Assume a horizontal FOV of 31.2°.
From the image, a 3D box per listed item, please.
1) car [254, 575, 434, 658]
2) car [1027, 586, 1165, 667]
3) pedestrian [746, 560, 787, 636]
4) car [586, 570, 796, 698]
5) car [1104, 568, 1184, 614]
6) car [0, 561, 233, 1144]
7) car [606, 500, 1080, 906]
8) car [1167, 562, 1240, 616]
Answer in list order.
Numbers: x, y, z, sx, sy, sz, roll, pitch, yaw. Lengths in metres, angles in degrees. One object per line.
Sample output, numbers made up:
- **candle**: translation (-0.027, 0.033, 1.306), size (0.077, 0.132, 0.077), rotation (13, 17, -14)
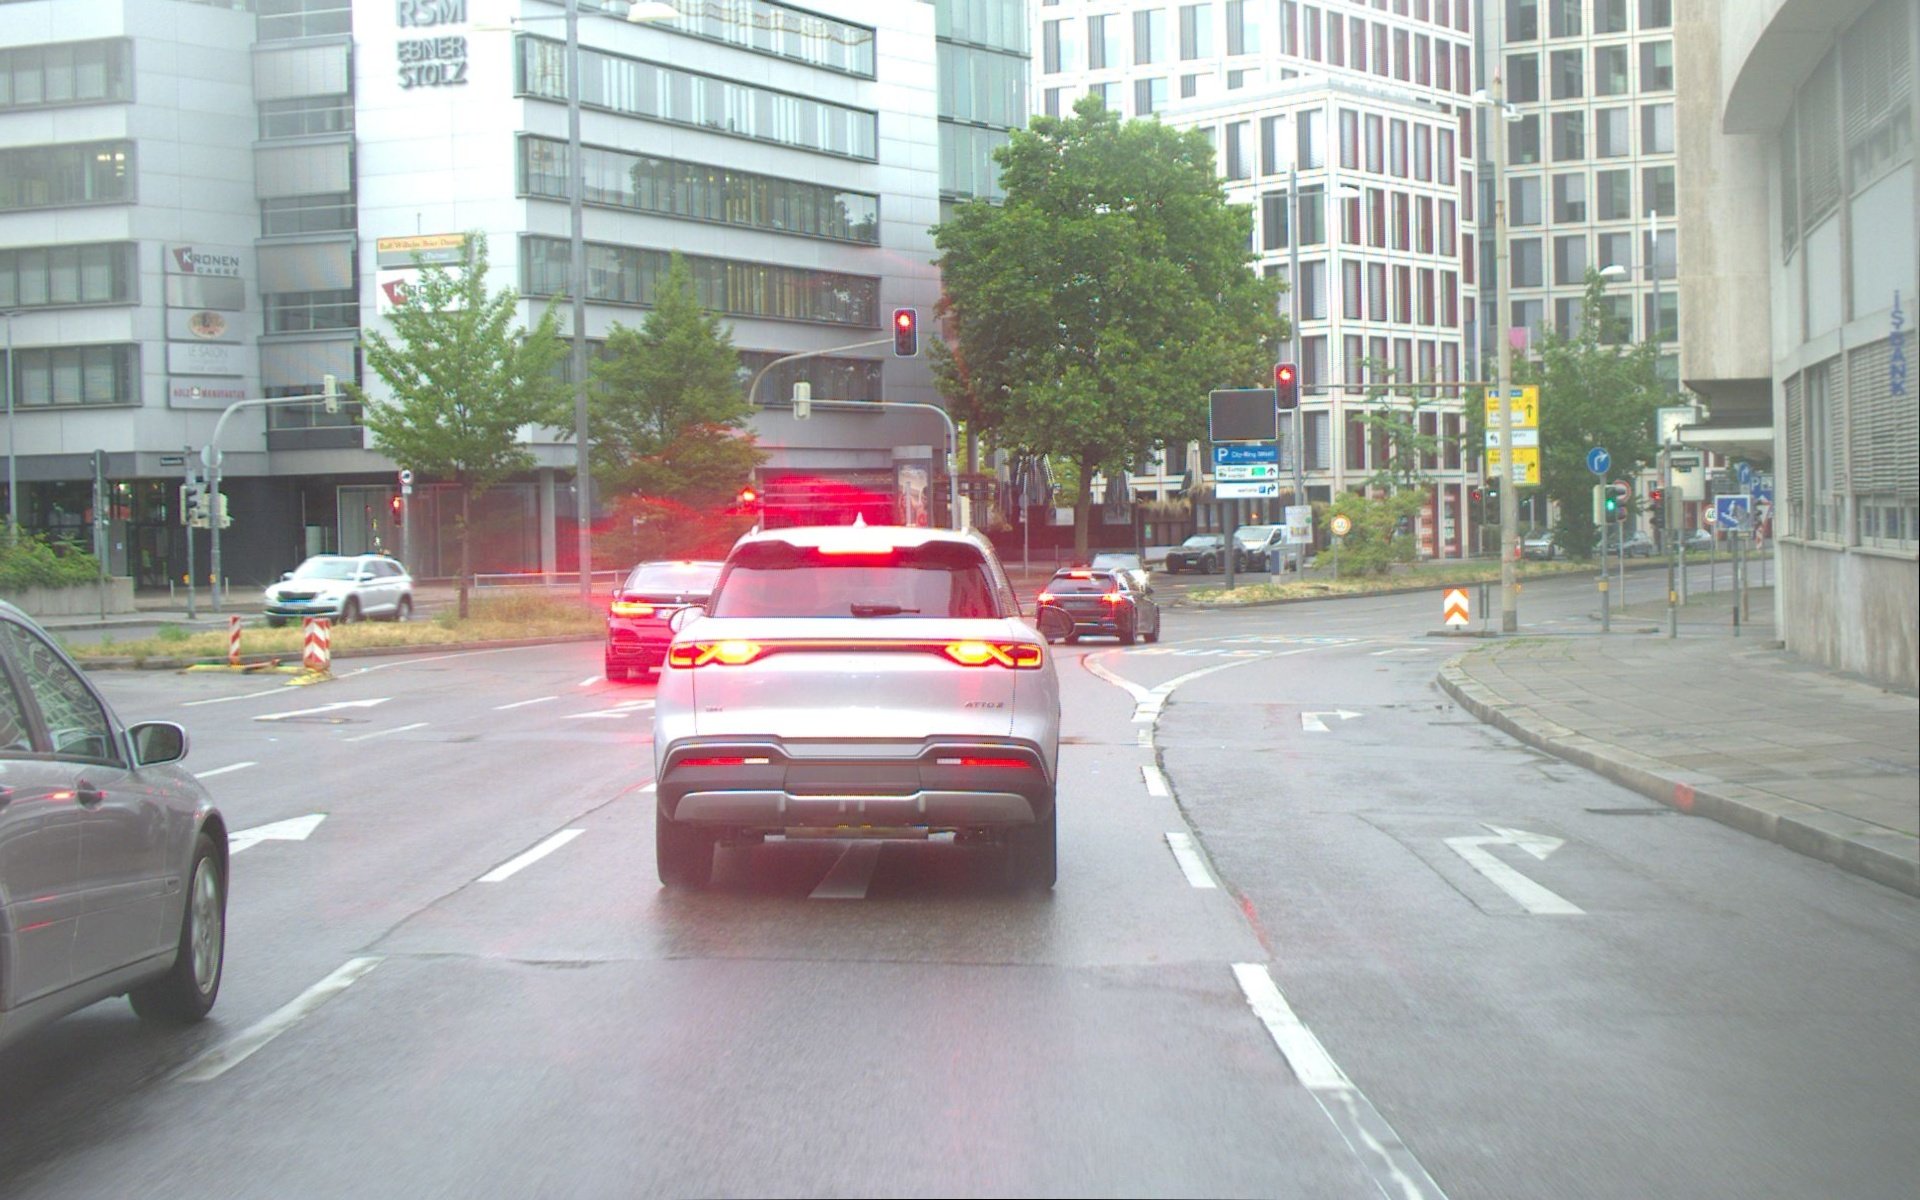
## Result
- **car**: translation (-13.257, 0.347, 74.241), size (1.739, 1.722, 4.488), rotation (1, 0, 21)
- **car**: translation (2.676, 0.501, 66.583), size (1.956, 1.525, 3.997), rotation (0, 0, 13)
- **pedestrian**: translation (-4.474, -0.049, 79.442), size (0.922, 1.732, 0.729), rotation (-1, 0, -2)
- **car**: translation (-3.289, 0.408, 42.744), size (1.955, 1.525, 3.999), rotation (0, 0, 5)
- **car**: translation (7.070, -0.336, 131.865), size (1.739, 1.722, 4.488), rotation (1, 0, 21)
- **car**: translation (-3.279, 0.649, 9.351), size (1.682, 1.481, 4.196), rotation (-1, 0, 0)
- **car**: translation (-0.510, 0.437, 16.817), size (1.993, 1.703, 4.482), rotation (-1, 0, 0)
- **car**: translation (10.063, -0.451, 141.562), size (1.739, 2.154, 4.488), rotation (1, 0, 21)
